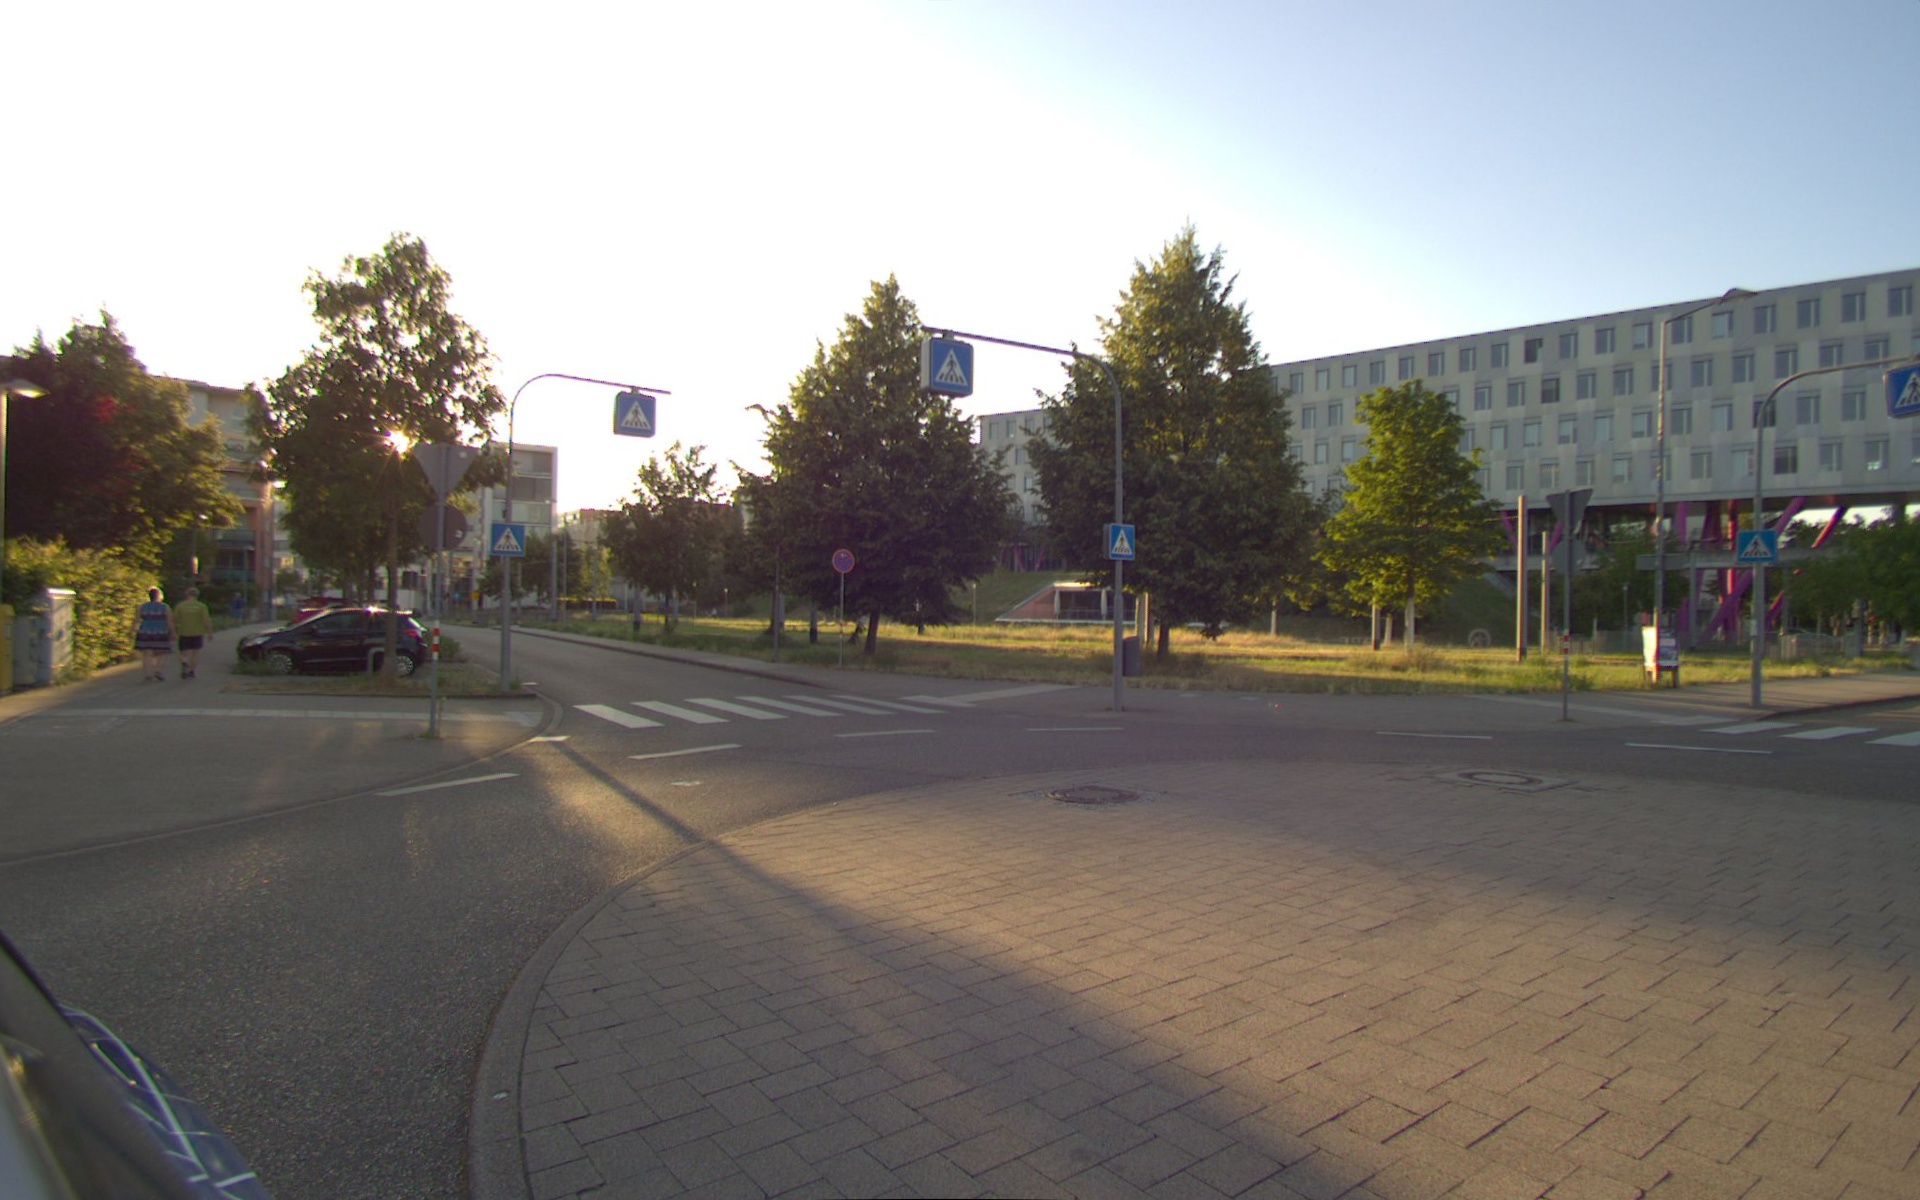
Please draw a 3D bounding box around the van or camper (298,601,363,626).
[{"bbox_3d":[-44.936,0.938,72.241,3.815,1.707,1.839,0,0,-36],"label":"van or camper"}]

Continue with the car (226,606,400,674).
[{"bbox_3d":[-15.355,0.943,24.133,3.353,1.512,1.599,2,-1,-34],"label":"car"}]

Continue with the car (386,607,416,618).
[{"bbox_3d":[-84.053,1.839,152.185,3.815,1.625,1.707,0,0,-36],"label":"car"}]

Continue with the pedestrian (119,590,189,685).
[{"bbox_3d":[-14.181,0.646,17.812,0.707,1.612,0.653,2,0,17],"label":"pedestrian"}]

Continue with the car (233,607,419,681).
[{"bbox_3d":[-13.975,0.952,22.412,3.353,1.533,1.695,2,-1,-34],"label":"car"}]

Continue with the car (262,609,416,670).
[{"bbox_3d":[-16.364,1.034,26.735,3.353,1.512,1.599,2,-1,-34],"label":"car"}]

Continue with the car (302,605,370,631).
[{"bbox_3d":[-43.204,1.226,70.056,3.817,1.707,1.706,0,0,-39],"label":"car"}]

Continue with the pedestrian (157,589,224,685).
[{"bbox_3d":[-14.014,0.661,18.439,0.737,1.680,0.621,2,0,17],"label":"pedestrian"}]
